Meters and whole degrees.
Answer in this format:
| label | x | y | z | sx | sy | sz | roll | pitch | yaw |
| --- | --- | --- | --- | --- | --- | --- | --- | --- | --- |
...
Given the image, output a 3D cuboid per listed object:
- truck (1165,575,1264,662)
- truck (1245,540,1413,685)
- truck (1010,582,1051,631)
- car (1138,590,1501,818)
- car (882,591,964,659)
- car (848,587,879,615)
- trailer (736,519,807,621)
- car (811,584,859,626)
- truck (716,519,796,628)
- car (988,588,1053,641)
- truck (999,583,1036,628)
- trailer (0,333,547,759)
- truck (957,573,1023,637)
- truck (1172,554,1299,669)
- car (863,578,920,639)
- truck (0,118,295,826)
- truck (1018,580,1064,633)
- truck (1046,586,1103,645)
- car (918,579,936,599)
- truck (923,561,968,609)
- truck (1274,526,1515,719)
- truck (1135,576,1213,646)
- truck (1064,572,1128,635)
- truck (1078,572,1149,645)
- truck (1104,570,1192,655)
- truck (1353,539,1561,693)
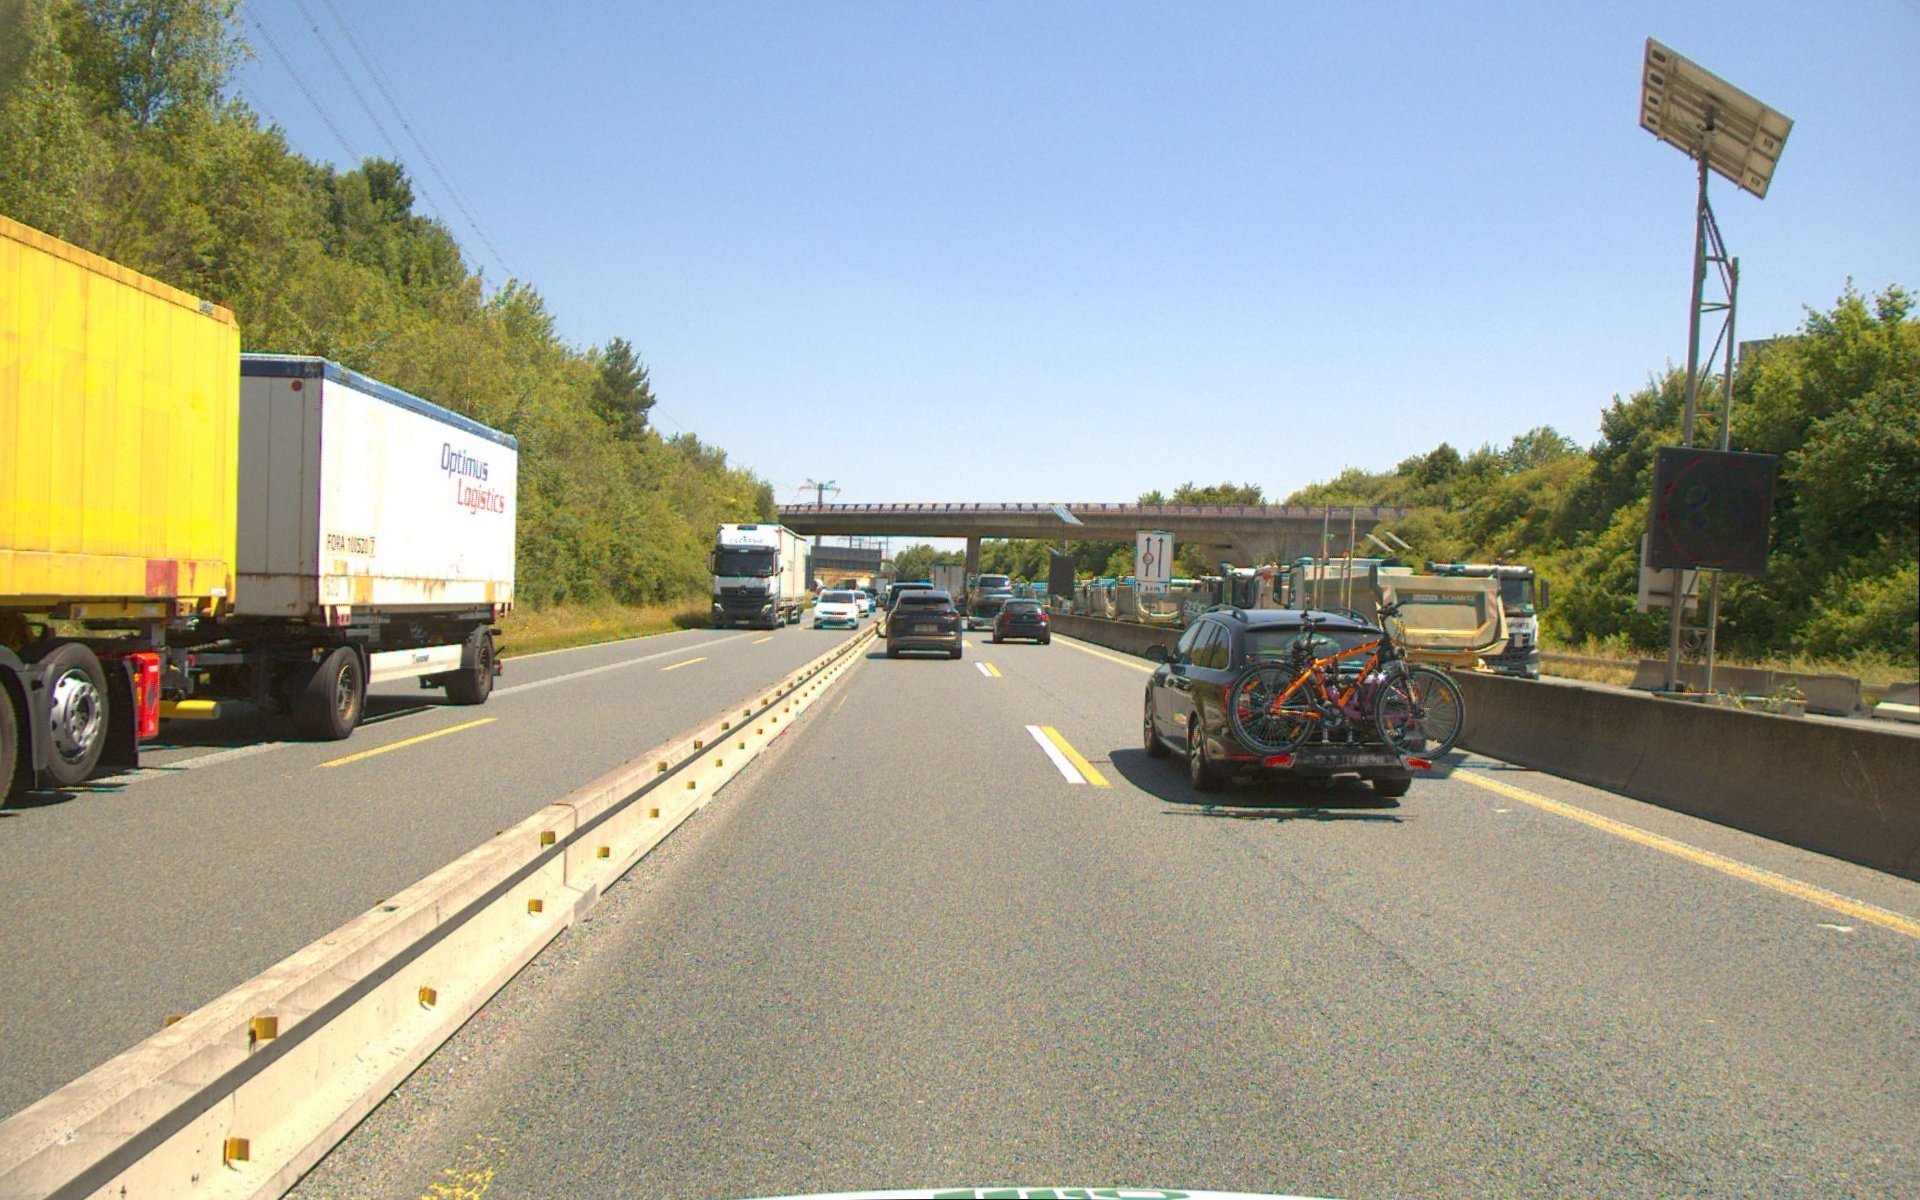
| label | x | y | z | sx | sy | sz | roll | pitch | yaw |
| --- | --- | --- | --- | --- | --- | --- | --- | --- | --- |
| truck | 11.306 | 0.756 | 74.445 | 2.633 | 3.619 | 9.599 | 1 | 0 | -2 |
| truck | 10.051 | 0.294 | 46.083 | 2.482 | 3.572 | 8.942 | 1 | 0 | -1 |
| truck | 5.850 | 0.535 | 138.890 | 2.633 | 3.923 | 9.321 | 1 | 0 | -2 |
| car | 2.748 | 0.726 | 13.863 | 1.861 | 1.516 | 4.946 | 2 | 0 | -1 |
| car | -0.893 | 0.582 | 40.503 | 1.861 | 1.531 | 4.275 | 2 | 0 | -1 |
| car | -5.969 | 0.094 | 102.649 | 1.727 | 1.660 | 4.295 | 2 | 0 | -2 |
| trailer | -8.715 | -1.338 | 77.361 | 2.585 | 4.388 | 8.443 | 2 | 0 | -3 |
| car | -5.189 | 0.220 | 68.981 | 1.788 | 1.659 | 4.149 | 1 | 0 | -2 |
| truck | -8.265 | -1.025 | 67.986 | 2.362 | 4.061 | 10.346 | 2 | 0 | -3 |
| car | 1.945 | 0.462 | 54.221 | 1.861 | 1.613 | 4.275 | 2 | 0 | -1 |
| truck | 5.190 | 0.501 | 151.596 | 2.633 | 3.910 | 9.321 | 1 | 0 | -2 |
| trailer | -6.965 | -0.467 | 18.139 | 2.597 | 3.394 | 8.917 | 3 | 0 | -1 |
| truck | 1.230 | 0.162 | 72.508 | 2.357 | 2.603 | 7.496 | 2 | 1 | -3 |
| truck | 9.453 | 0.347 | 57.854 | 2.487 | 3.619 | 9.599 | 1 | 0 | -2 |
| car | -2.364 | 0.287 | 58.197 | 1.861 | 2.003 | 4.275 | 2 | 0 | -1 |
| truck | -6.819 | -0.765 | 8.816 | 2.596 | 4.061 | 9.648 | 3 | 0 | -1 |
| truck | 6.193 | 0.455 | 127.496 | 2.633 | 3.826 | 9.321 | 1 | 0 | -2 |
| truck | 7.453 | 0.961 | 109.094 | 2.633 | 3.619 | 9.320 | 1 | 0 | -3 |
| car | -3.514 | -1.164 | 177.910 | 1.861 | 2.003 | 4.275 | 2 | 0 | -1 |
| truck | -1.334 | -1.260 | 142.787 | 3.227 | 3.912 | 10.102 | 1 | 0 | -4 |
| truck | 9.028 | 0.402 | 35.619 | 2.482 | 3.572 | 9.093 | 1 | 0 | -2 |
| truck | 11.071 | 0.529 | 86.613 | 2.632 | 3.437 | 9.601 | 1 | 0 | -1 |
| truck | 8.142 | 0.185 | 100.199 | 2.633 | 3.619 | 9.320 | 1 | 0 | -3 |
| truck | 8.129 | 0.396 | 88.519 | 2.633 | 3.619 | 9.403 | 1 | 0 | -1 |
| truck | 8.552 | 0.514 | 76.263 | 2.633 | 3.619 | 9.599 | 1 | 0 | -2 |
| truck | 12.796 | 0.360 | 43.420 | 2.633 | 3.572 | 8.377 | 1 | 0 | -2 |
